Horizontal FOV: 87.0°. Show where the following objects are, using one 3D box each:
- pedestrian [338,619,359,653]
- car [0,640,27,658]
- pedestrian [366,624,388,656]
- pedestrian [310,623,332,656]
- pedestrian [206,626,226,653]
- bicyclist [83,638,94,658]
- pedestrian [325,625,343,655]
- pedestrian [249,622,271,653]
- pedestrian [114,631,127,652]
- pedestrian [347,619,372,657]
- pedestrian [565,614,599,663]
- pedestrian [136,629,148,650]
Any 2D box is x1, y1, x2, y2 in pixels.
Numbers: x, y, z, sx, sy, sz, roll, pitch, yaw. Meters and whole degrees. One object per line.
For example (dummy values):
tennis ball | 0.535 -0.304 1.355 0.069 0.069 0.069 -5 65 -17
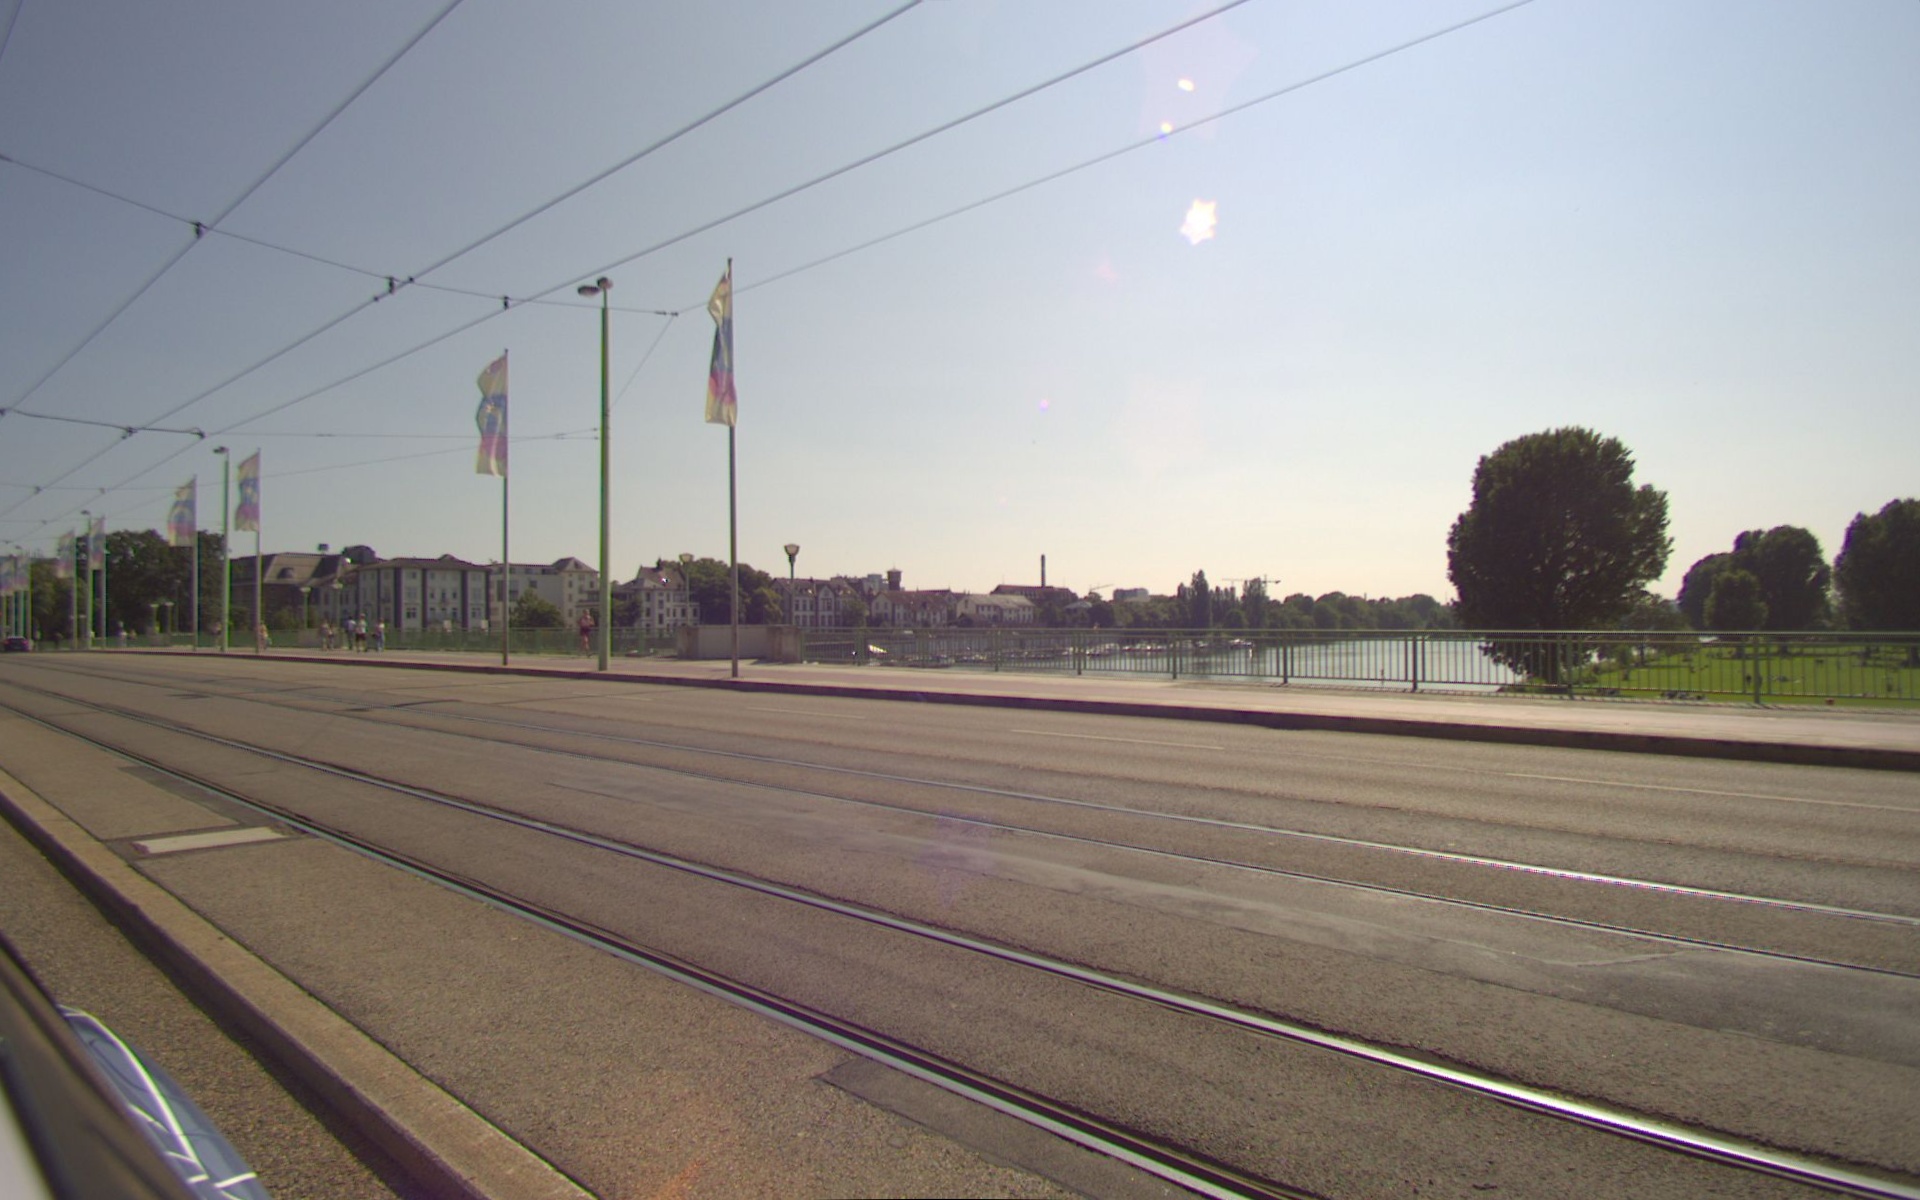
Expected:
pedestrian | -31.471 1.839 52.052 1.022 1.712 0.584 -2 0 41
car | -84.102 4.314 89.665 3.899 1.465 1.698 -2 -2 41
pedestrian | -27.243 1.856 47.288 1.022 1.425 0.584 -2 0 41
pedestrian | -32.089 1.957 50.844 1.022 1.611 0.620 -2 0 41
pedestrian | -48.281 2.558 65.697 1.022 1.712 0.777 -2 0 41
bicyclist | -73.853 4.071 85.763 0.621 1.663 0.657 -2 -2 41
pedestrian | -31.863 2.031 51.511 0.788 1.448 0.540 -2 0 41
pedestrian | -39.751 2.140 57.474 1.022 1.712 0.777 -2 0 41
pedestrian | -71.944 3.546 86.773 1.022 1.712 0.584 -2 3 41
pedestrian | -27.930 1.742 47.048 1.022 1.712 0.663 -2 0 41
pedestrian | -13.588 1.381 36.360 1.022 1.703 0.677 -2 0 41
pedestrian | -69.677 3.393 86.189 0.904 1.712 0.584 -2 3 41
